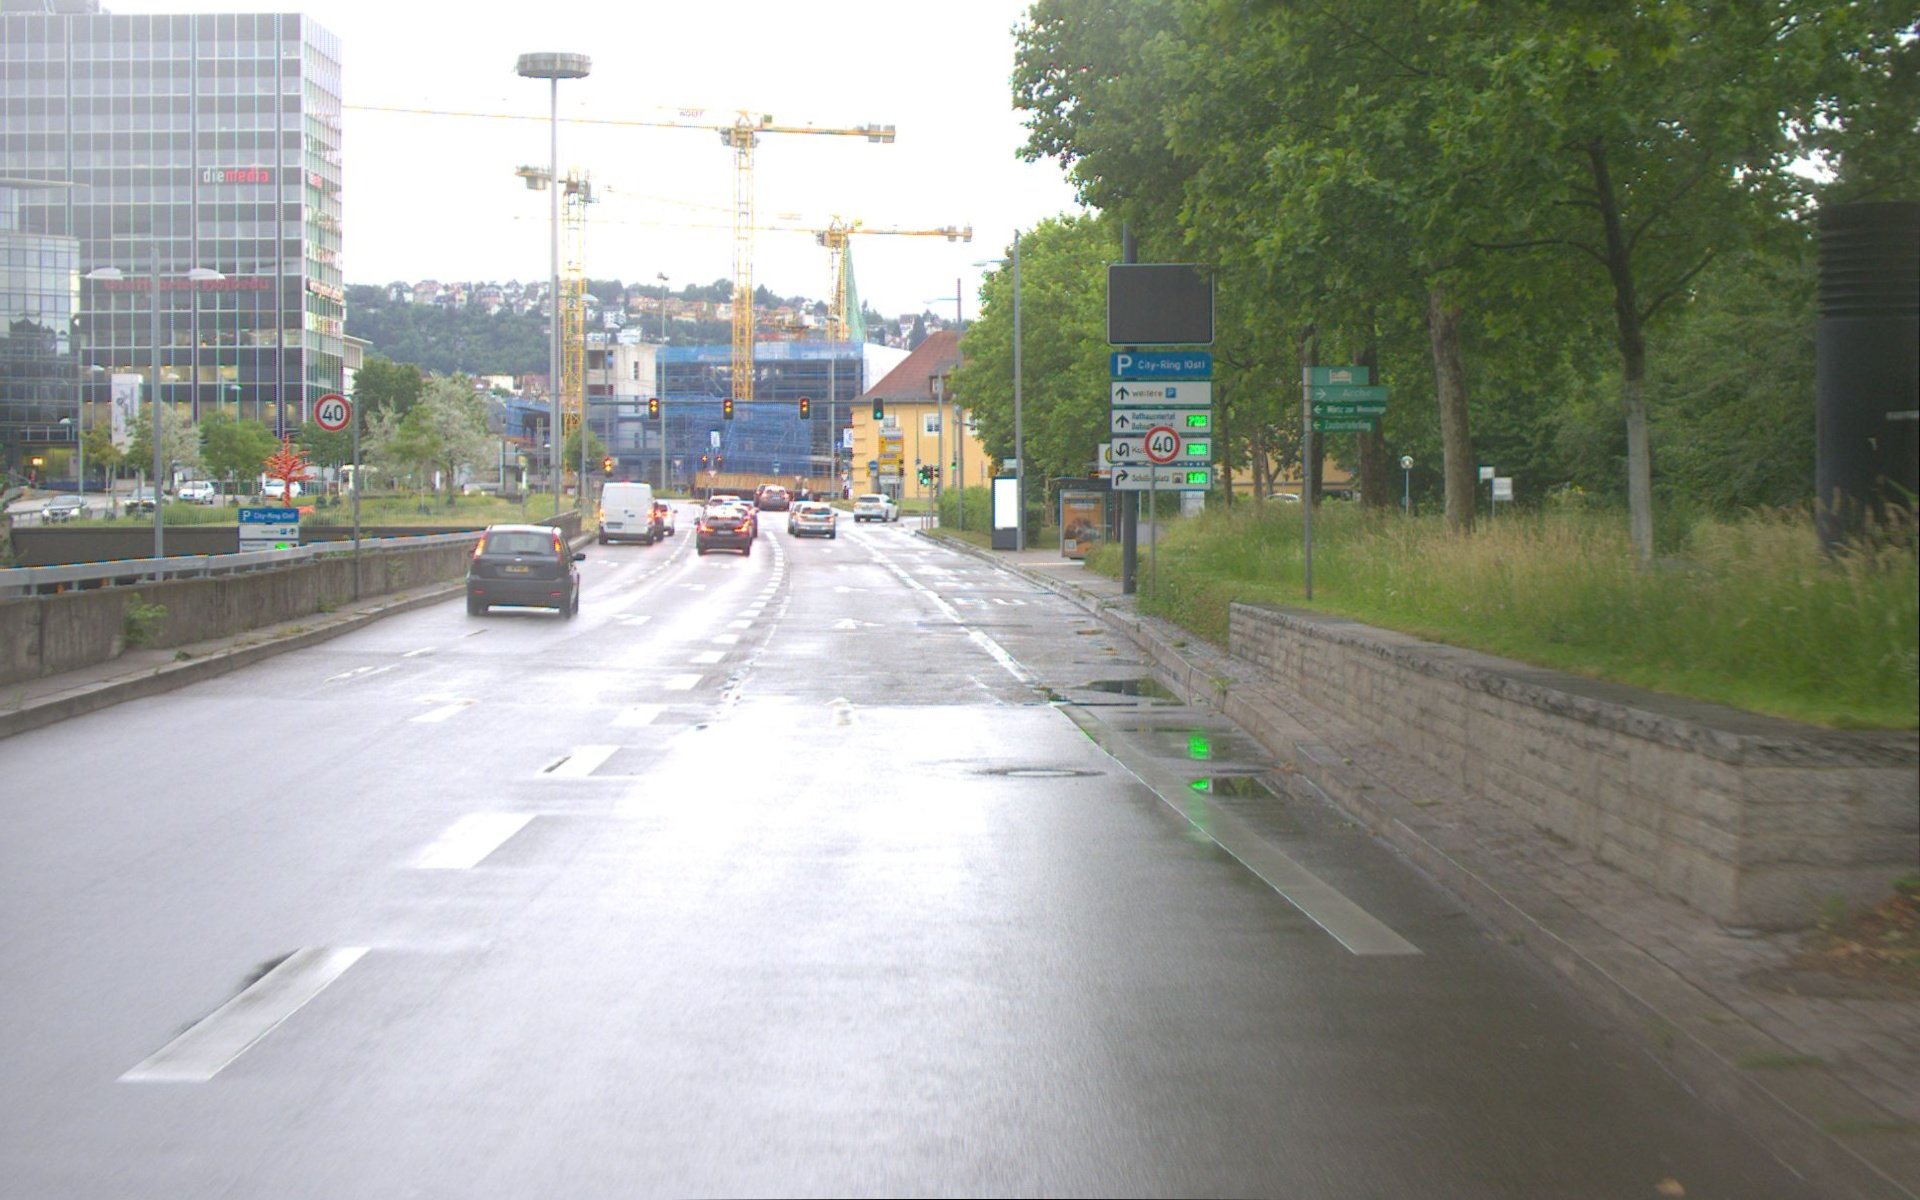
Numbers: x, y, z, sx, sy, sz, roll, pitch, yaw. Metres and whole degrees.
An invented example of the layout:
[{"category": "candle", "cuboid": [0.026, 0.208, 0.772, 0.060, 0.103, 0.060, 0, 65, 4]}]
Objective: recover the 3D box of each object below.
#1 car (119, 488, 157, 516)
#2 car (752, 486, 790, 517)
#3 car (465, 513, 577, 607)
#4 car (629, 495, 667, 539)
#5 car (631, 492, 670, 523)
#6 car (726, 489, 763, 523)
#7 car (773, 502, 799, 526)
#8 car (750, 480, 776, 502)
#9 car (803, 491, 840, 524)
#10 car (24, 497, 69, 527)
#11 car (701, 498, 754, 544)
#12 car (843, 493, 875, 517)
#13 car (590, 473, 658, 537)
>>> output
[{"category": "car", "cuboid": [-44.303, -5.298, 185.396, 1.464, 1.435, 2.963, 1, 1, -4]}, {"category": "car", "cuboid": [-11.820, -6.173, 215.312, 2.161, 1.873, 3.771, 1, 1, 0]}, {"category": "car", "cuboid": [-7.026, -0.654, 55.272, 1.542, 1.410, 3.902, 1, 1, -4]}, {"category": "car", "cuboid": [-12.437, -3.296, 136.879, 1.464, 1.700, 3.142, 1, 1, -5]}, {"category": "car", "cuboid": [-13.108, -3.922, 145.736, 1.551, 1.256, 2.581, 1, 1, -4]}, {"category": "car", "cuboid": [-9.193, -3.993, 146.518, 1.493, 1.365, 3.034, 1, 1, -4]}, {"category": "car", "cuboid": [-7.810, -3.848, 154.114, 1.076, 0.987, 1.972, 1, 0, 0]}, {"category": "car", "cuboid": [-13.045, -7.197, 227.410, 1.479, 1.355, 3.136, 1, 1, 0]}, {"category": "car", "cuboid": [-5.952, -3.955, 147.863, 1.444, 1.354, 2.412, 1, 1, 0]}, {"category": "car", "cuboid": [-42.950, -4.138, 161.694, 1.344, 1.347, 2.931, 1, 1, -1]}, {"category": "car", "cuboid": [-8.098, -2.763, 119.486, 1.753, 1.466, 4.224, 1, 3, -5]}, {"category": "car", "cuboid": [-5.429, -5.137, 185.269, 1.636, 1.170, 3.266, 1, 0, 0]}, {"category": "car", "cuboid": [-12.644, -3.574, 129.742, 2.292, 2.306, 5.006, 1, 1, -3]}]
